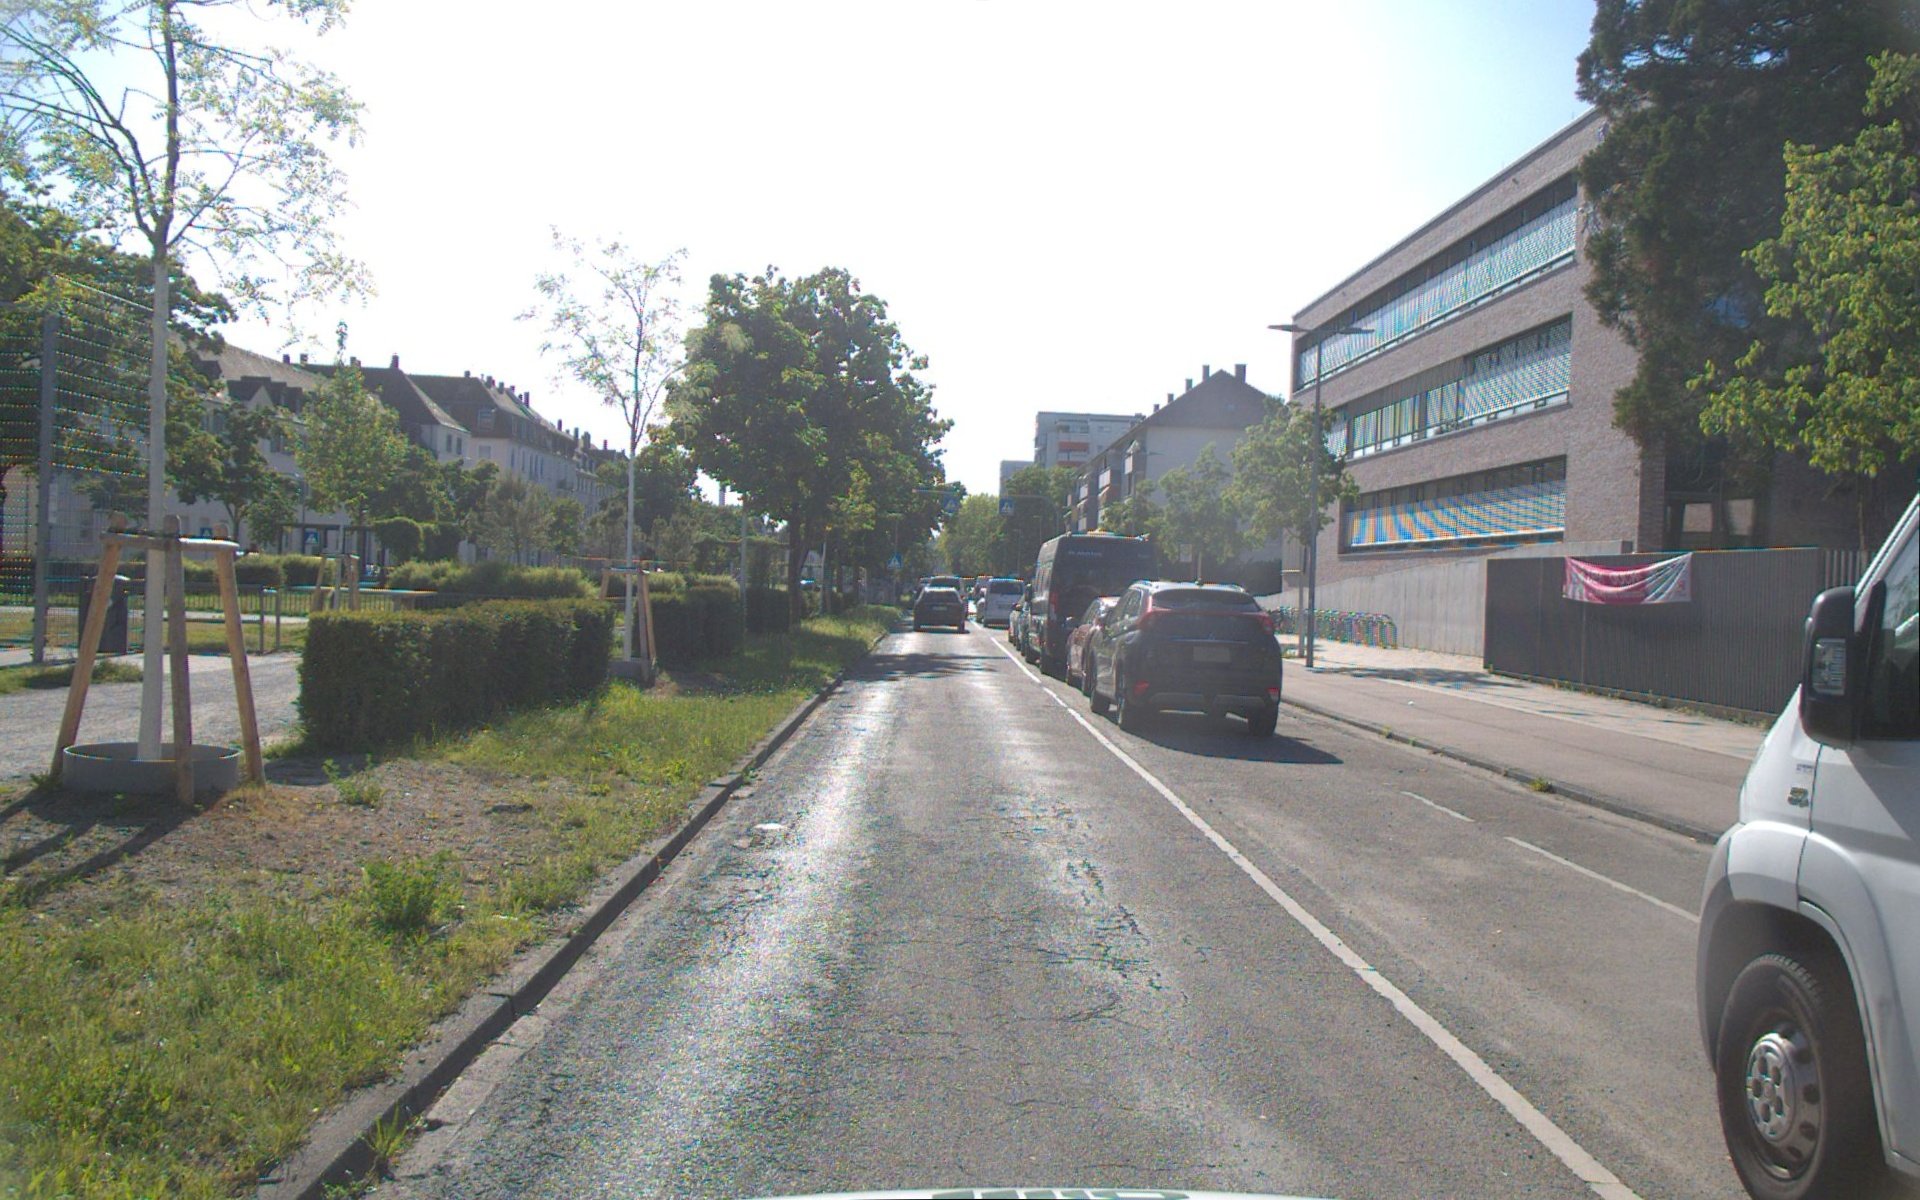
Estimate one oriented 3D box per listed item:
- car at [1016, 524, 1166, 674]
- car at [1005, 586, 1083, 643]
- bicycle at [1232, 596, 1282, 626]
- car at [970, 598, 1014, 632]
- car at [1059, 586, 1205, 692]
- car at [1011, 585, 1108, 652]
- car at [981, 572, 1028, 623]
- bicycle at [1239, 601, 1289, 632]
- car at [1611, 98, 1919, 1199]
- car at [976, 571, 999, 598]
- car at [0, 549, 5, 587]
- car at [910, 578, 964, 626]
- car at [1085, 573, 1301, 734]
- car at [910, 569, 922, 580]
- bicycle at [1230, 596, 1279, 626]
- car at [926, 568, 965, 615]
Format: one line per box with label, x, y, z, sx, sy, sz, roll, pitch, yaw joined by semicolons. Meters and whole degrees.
car;2.411;-0.053;32.283;2.073;2.559;6.529;2;0;-2
car;2.259;0.360;45.596;1.758;1.445;4.656;2;0;-2
bicycle;11.067;0.409;61.580;1.758;1.127;0.500;0;0;-4
car;1.370;0.618;72.028;1.729;1.342;4.167;3;0;-1
car;2.632;0.551;26.130;1.758;1.480;3.948;2;0;-2
car;2.313;0.392;39.512;1.953;1.445;4.635;2;0;0
car;1.749;-0.125;65.654;1.757;1.887;4.414;2;1;1
bicycle;11.098;0.606;60.399;1.758;1.127;0.500;0;0;-4
car;3.190;0.258;2.390;2.196;2.619;5.431;3;0;-1
car;2.716;-1.505;164.035;1.953;2.472;4.500;4;0;-1
car;-39.733;-1.321;65.267;1.758;1.536;4.000;3;1;-1
car;-0.801;0.055;57.346;1.758;1.536;4.000;2;1;-1
car;2.676;0.559;20.029;1.809;1.669;4.502;2;0;-2
car;-6.593;-3.820;246.609;1.758;1.536;4.000;1;0;-1
bicycle;11.056;0.403;62.132;1.758;1.127;0.500;0;0;-4
car;-0.693;-0.412;80.392;1.758;2.159;4.000;2;0;-1
